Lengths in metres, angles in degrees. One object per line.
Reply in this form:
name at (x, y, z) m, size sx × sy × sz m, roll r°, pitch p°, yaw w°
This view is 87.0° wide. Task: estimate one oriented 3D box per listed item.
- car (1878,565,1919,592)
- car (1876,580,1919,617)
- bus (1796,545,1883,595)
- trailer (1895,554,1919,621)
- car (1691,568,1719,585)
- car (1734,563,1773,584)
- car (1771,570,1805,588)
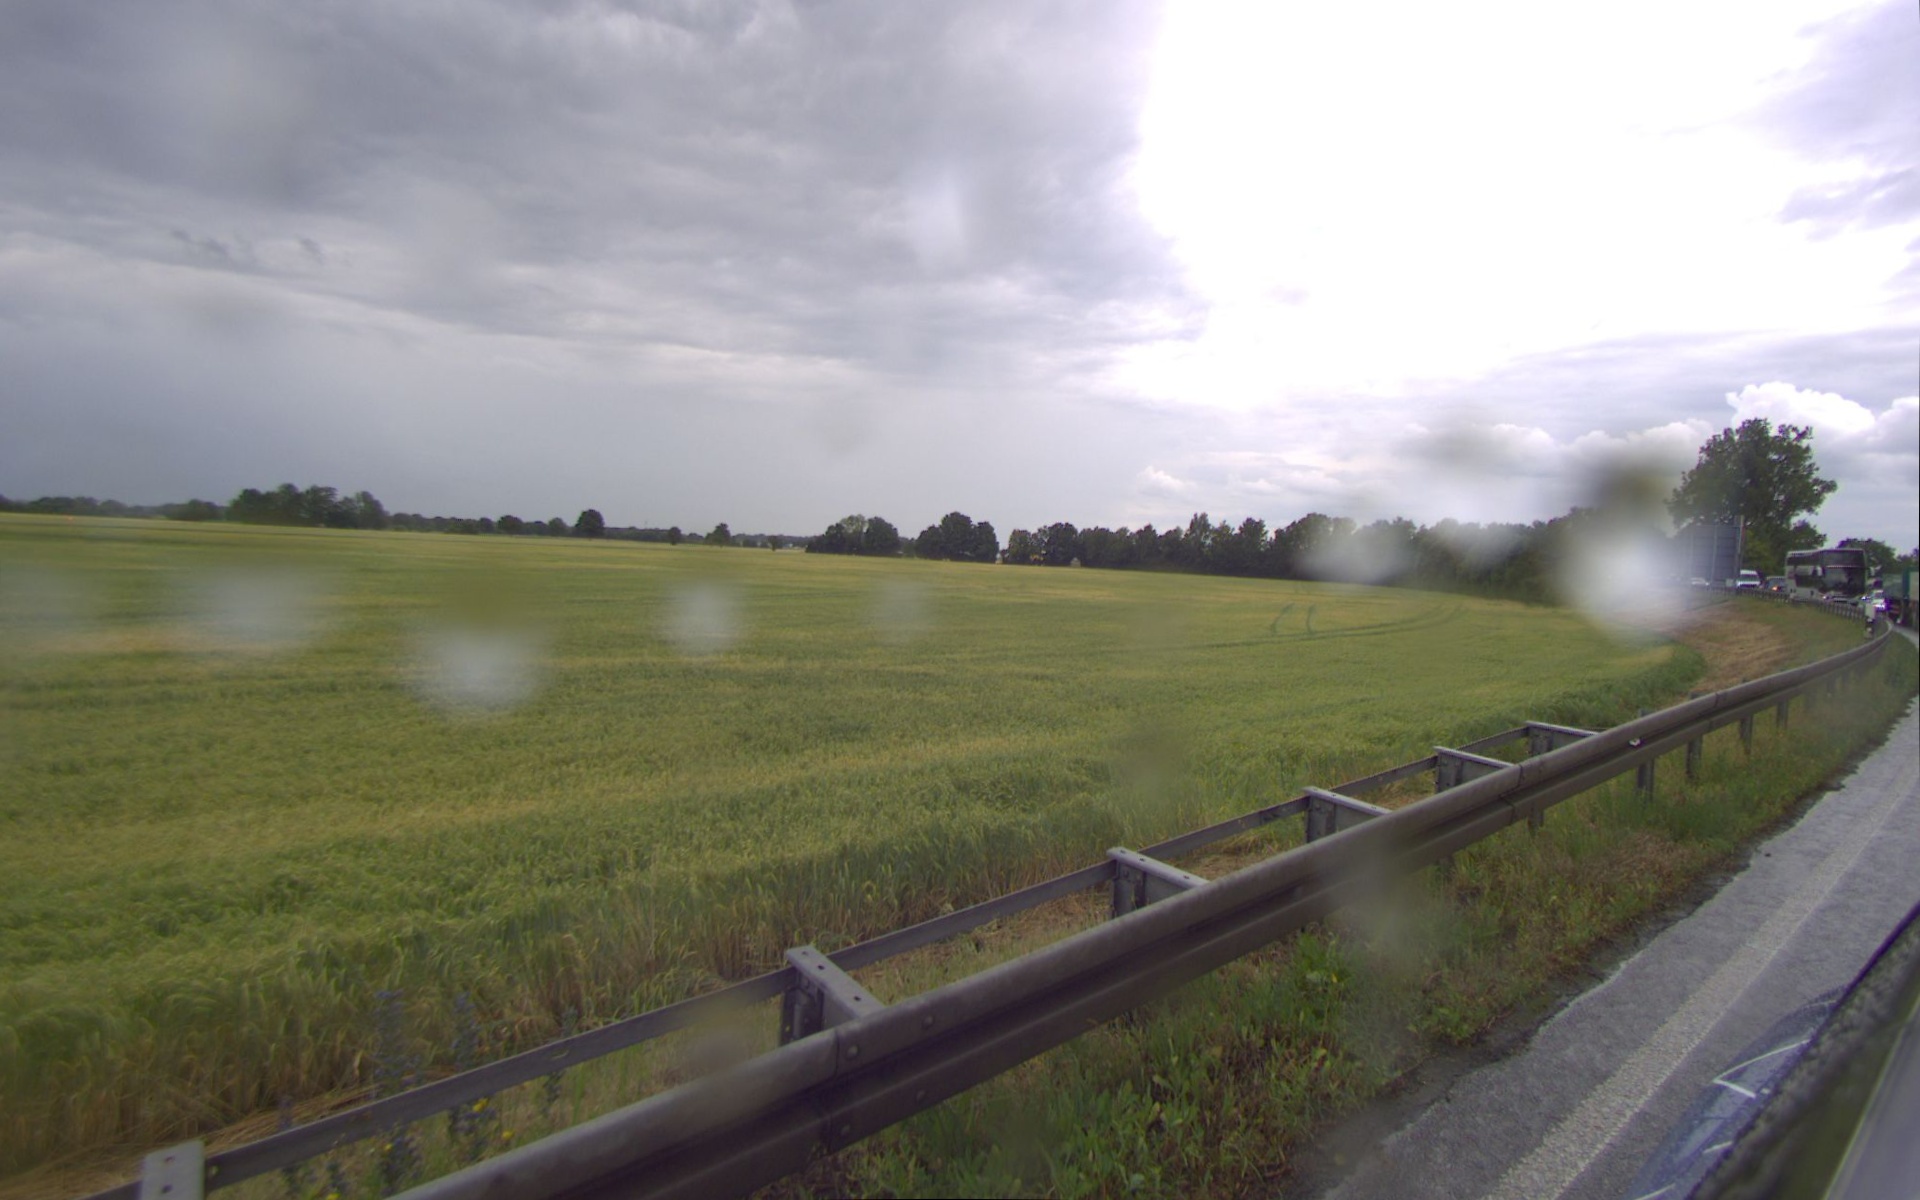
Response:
car at (70.005, -1.565, 75.359) m, size 1.809 × 1.948 × 4.129 m, roll 0°, pitch 1°, yaw 33°
car at (49.642, -0.128, 52.871) m, size 2.031 × 1.865 × 5.268 m, roll 0°, pitch 1°, yaw 36°
bus at (64.235, -2.217, 74.283) m, size 2.945 × 3.353 × 14.662 m, roll 0°, pitch 2°, yaw 34°
trailer at (40.630, -0.532, 41.010) m, size 2.971 × 2.666 × 15.462 m, roll 0°, pitch 1°, yaw 39°
car at (92.496, -2.871, 125.735) m, size 1.979 × 2.039 × 4.196 m, roll 0°, pitch 1°, yaw 25°
car at (82.414, -2.748, 105.149) m, size 1.978 × 2.039 × 5.292 m, roll 0°, pitch 1°, yaw 24°
car at (73.822, -1.857, 90.290) m, size 1.801 × 1.597 × 3.956 m, roll 0°, pitch 1°, yaw 32°
